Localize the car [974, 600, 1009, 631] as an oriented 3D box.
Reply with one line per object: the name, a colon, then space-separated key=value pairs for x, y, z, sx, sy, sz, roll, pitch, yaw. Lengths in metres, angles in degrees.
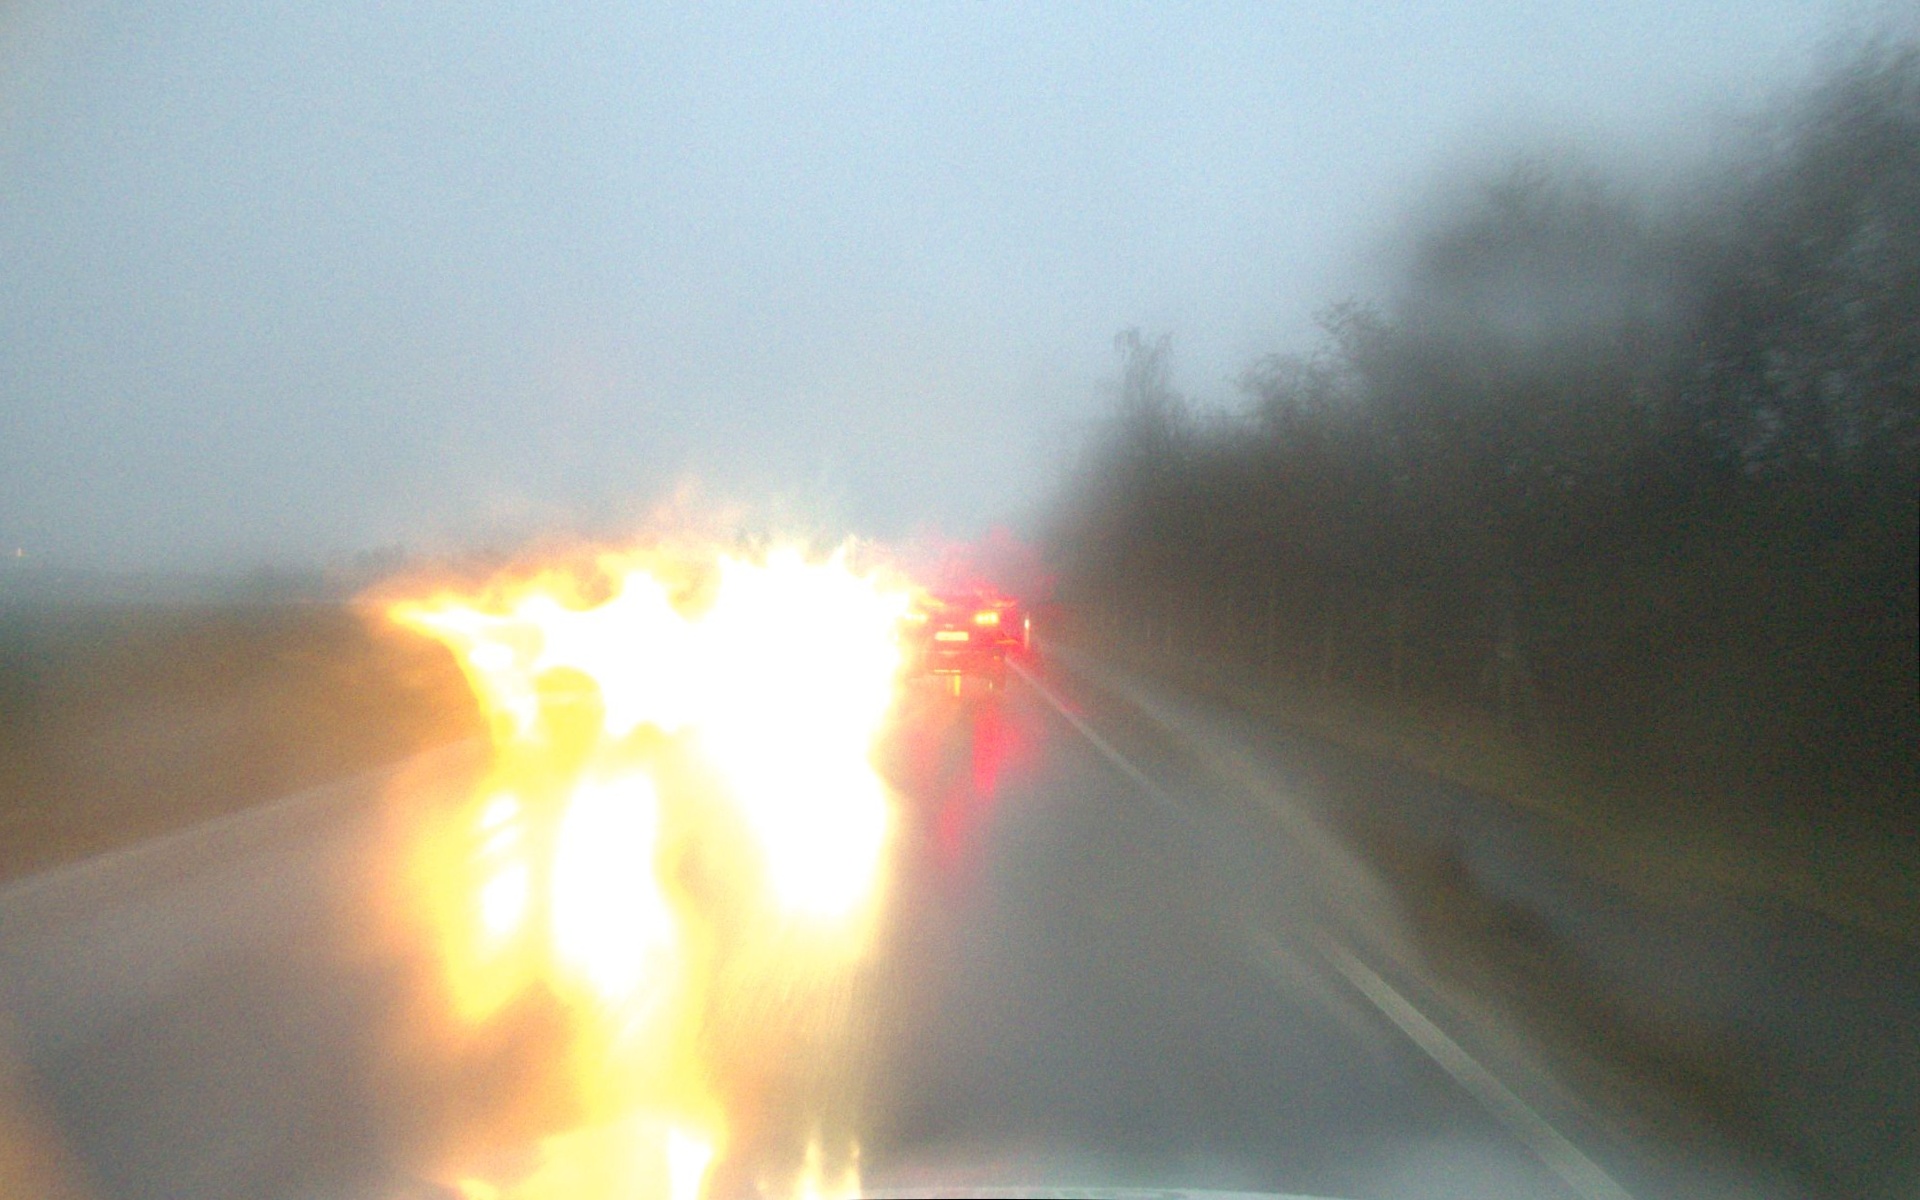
car: x=1.864 y=0.891 z=98.441 sx=1.889 sy=1.780 sz=3.999 roll=1 pitch=0 yaw=-1

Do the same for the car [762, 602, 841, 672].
car: x=-4.180 y=0.942 z=44.105 sx=1.694 sy=1.675 sz=4.260 roll=-3 pitch=0 yaw=-1

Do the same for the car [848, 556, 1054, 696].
car: x=-0.192 y=0.371 z=28.440 sx=3.100 sy=2.071 sz=6.850 roll=-1 pitch=0 yaw=-1

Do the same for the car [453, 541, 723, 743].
car: x=-4.019 y=0.401 z=18.781 sx=1.953 sy=1.903 sz=4.951 roll=-2 pitch=0 yaw=-1

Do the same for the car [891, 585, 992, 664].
car: x=-0.552 y=0.640 z=47.736 sx=2.700 sy=2.071 sz=6.589 roll=-1 pitch=0 yaw=-1
